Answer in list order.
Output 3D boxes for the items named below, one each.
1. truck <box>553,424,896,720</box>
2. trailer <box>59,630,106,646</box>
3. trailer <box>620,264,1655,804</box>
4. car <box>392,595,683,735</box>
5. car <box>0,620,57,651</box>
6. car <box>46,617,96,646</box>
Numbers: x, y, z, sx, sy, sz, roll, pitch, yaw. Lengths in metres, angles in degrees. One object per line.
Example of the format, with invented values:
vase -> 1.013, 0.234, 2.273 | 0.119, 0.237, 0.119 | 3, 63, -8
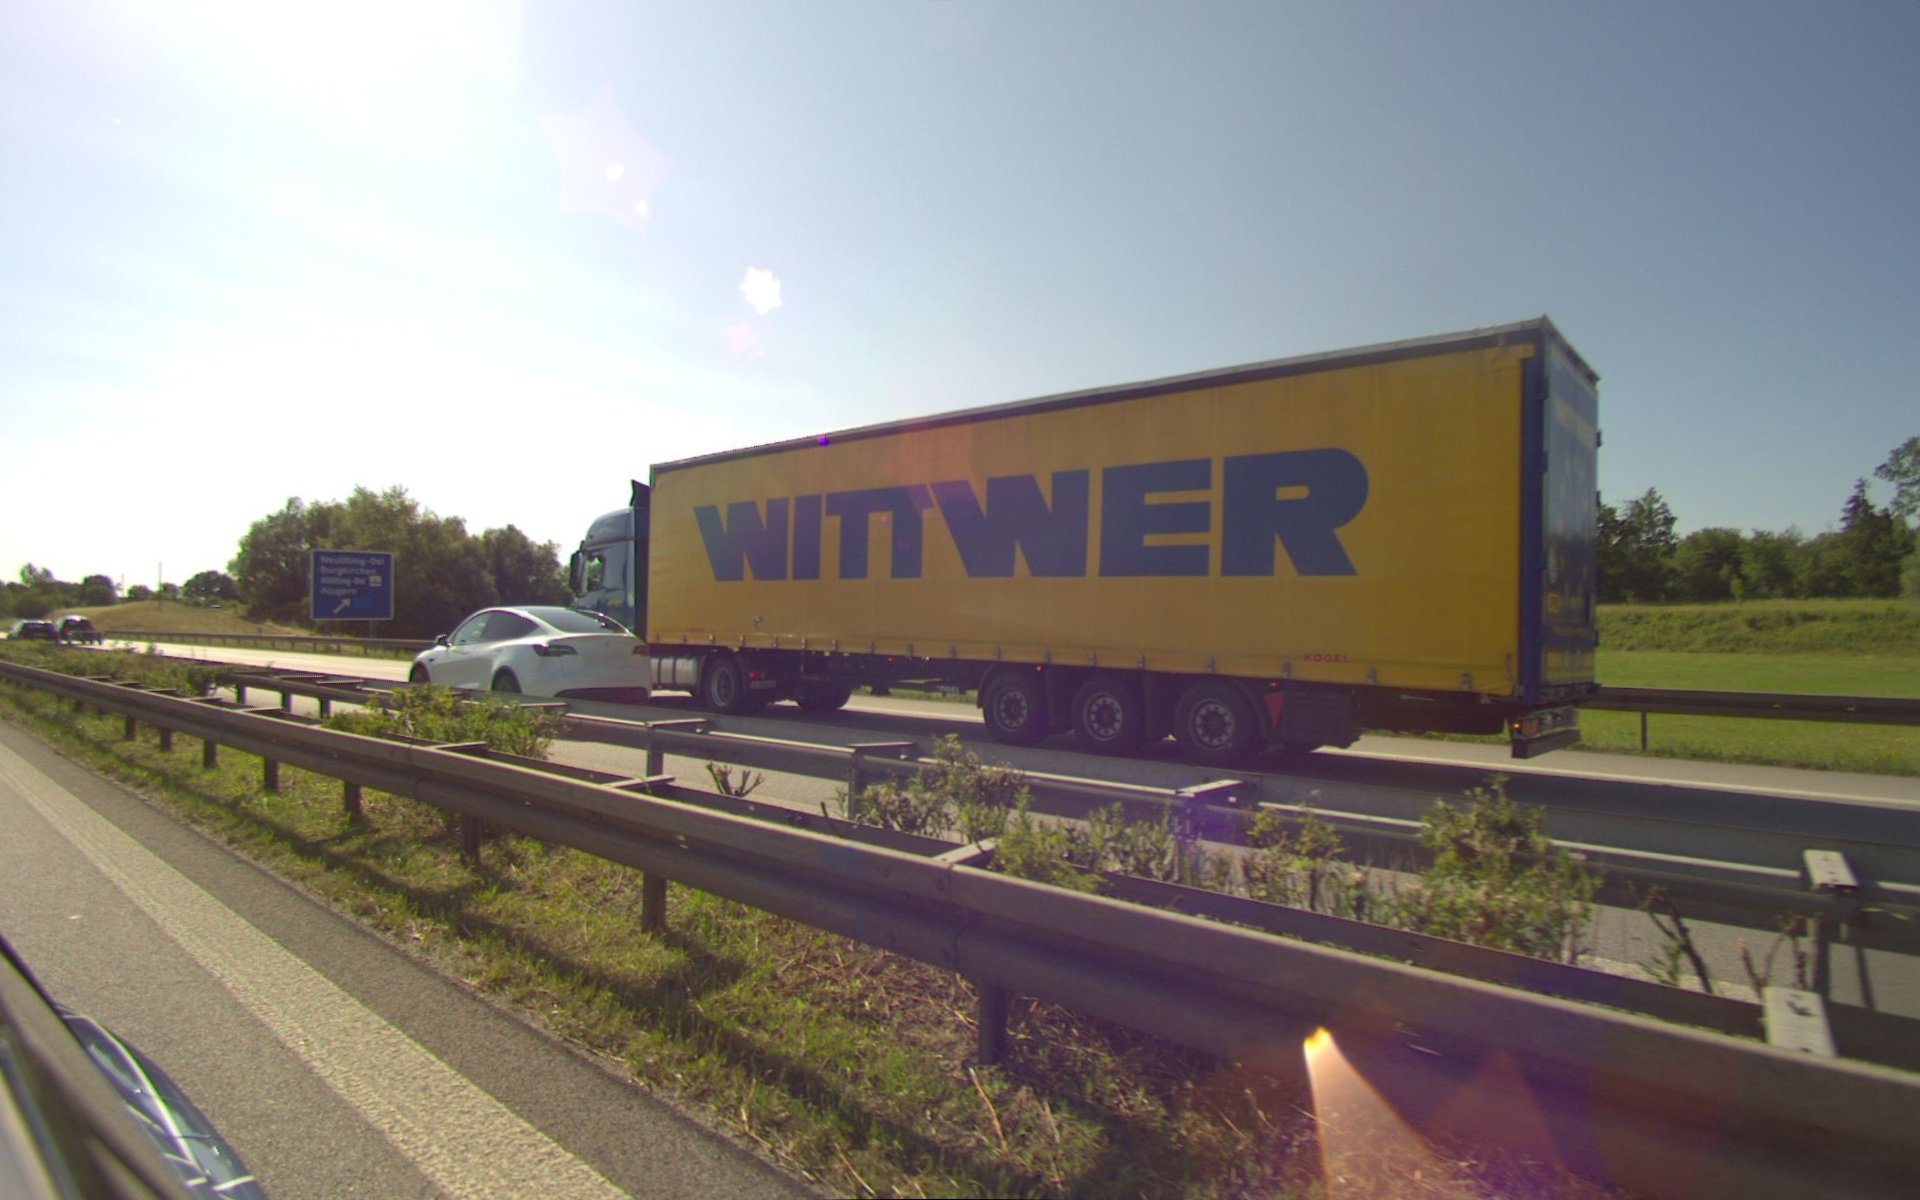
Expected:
truck -> -4.338, -0.333, 17.911 | 6.331, 4.335, 2.711 | -1, -2, 41
trailer -> -54.867, 2.367, 63.233 | 4.019, 0.943, 1.723 | -1, -2, 42
trailer -> 0.499, -0.382, 13.642 | 14.387, 4.192, 2.758 | -1, -2, 41
car -> -6.138, 0.846, 14.433 | 4.631, 1.678, 1.973 | -1, -3, 41
car -> -45.688, 1.713, 49.474 | 4.923, 1.470, 1.663 | -1, -2, 41
car -> -58.178, 2.119, 66.216 | 4.869, 1.817, 1.830 | -2, -4, 42
